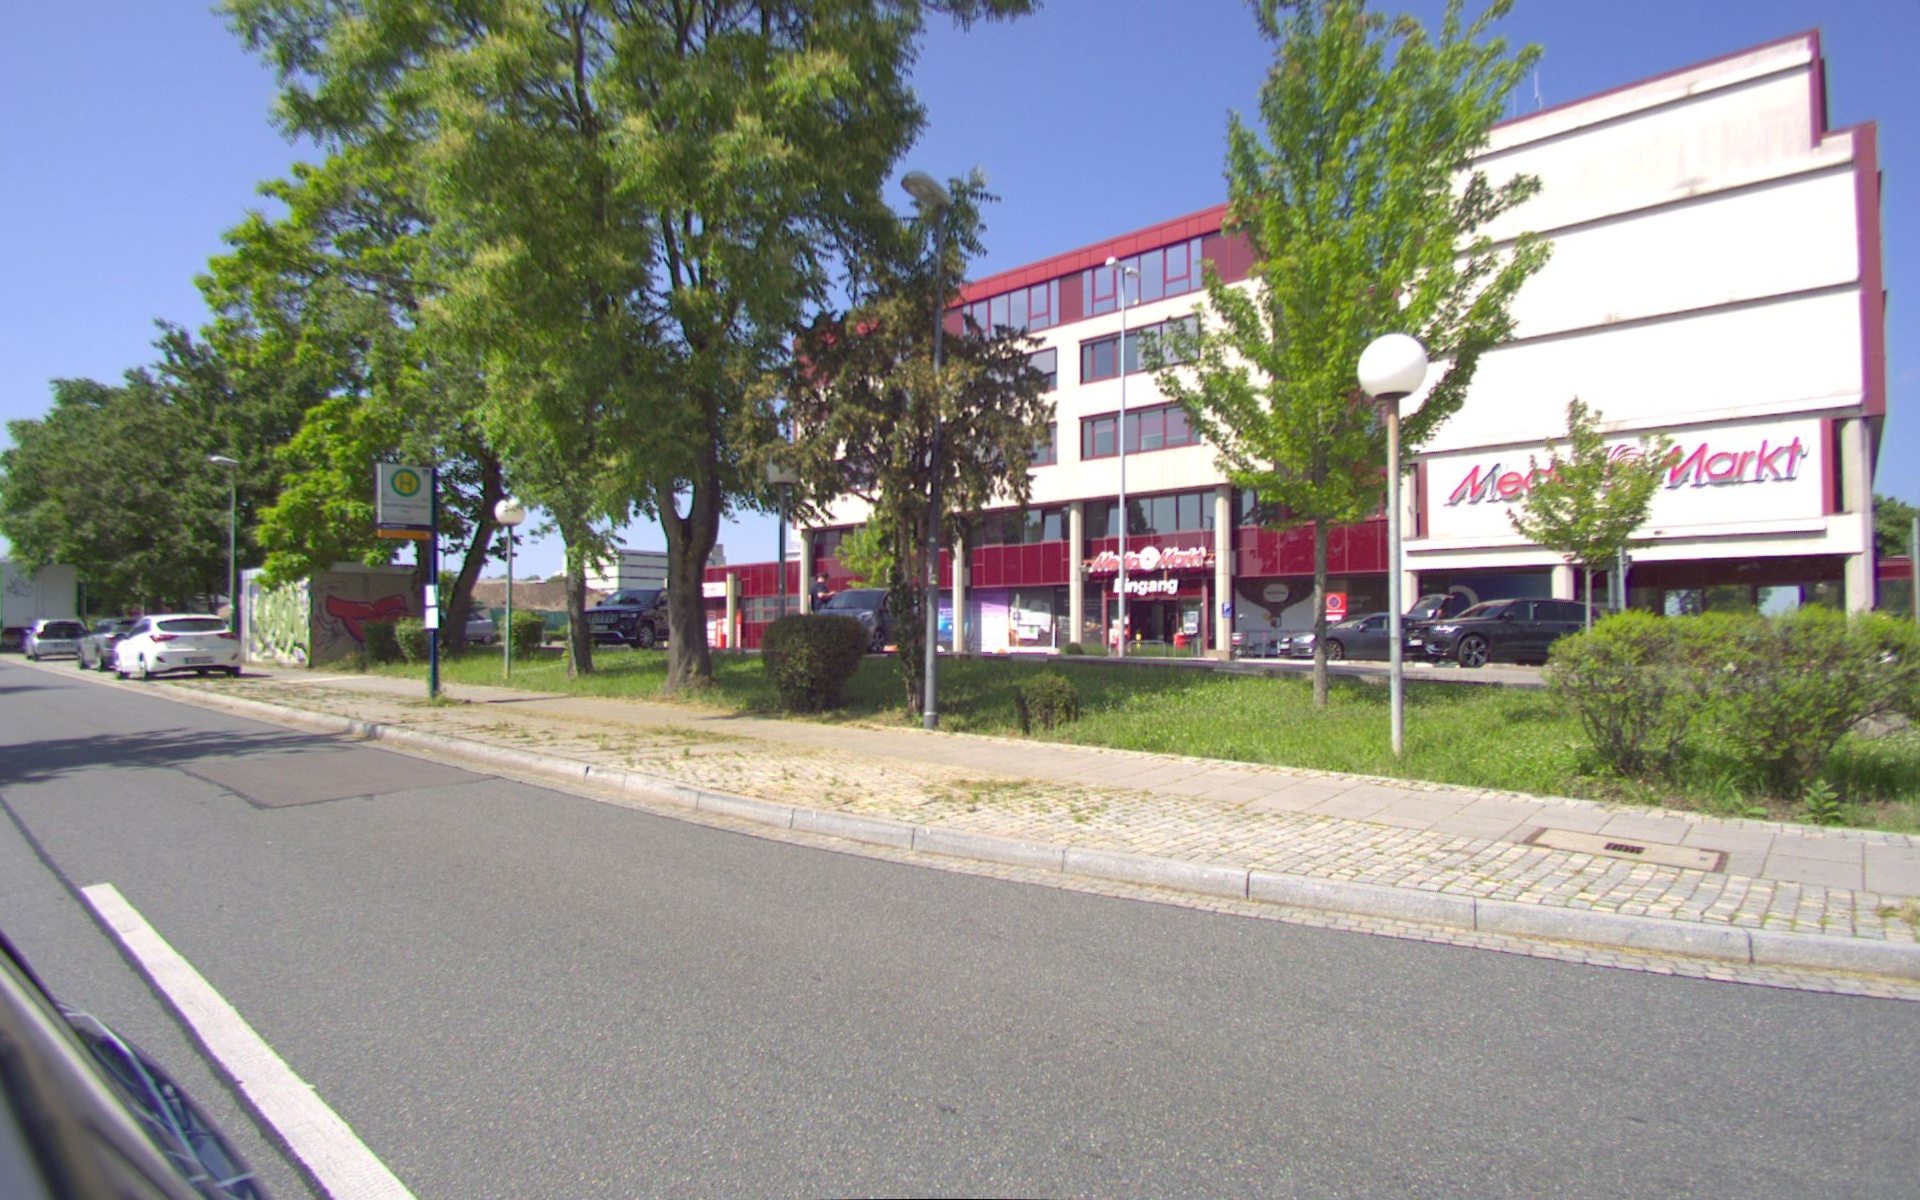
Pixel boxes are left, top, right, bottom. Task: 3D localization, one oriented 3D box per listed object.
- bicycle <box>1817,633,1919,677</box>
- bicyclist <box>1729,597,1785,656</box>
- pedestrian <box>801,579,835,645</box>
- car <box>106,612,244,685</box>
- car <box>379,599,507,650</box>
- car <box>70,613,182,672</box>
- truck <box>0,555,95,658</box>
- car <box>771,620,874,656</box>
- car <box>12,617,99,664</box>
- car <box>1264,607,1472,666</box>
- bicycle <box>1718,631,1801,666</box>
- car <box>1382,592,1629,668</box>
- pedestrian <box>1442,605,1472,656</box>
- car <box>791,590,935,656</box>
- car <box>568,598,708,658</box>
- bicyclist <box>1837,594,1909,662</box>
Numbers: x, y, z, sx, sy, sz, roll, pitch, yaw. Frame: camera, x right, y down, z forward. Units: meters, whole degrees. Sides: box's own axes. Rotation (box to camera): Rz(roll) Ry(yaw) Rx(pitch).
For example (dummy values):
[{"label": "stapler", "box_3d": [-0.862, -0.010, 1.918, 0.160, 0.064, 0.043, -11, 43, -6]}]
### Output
[{"label": "bicycle", "box_3d": [20.202, 1.194, 22.366, 0.716, 0.855, 1.848, 0, 0, -15]}, {"label": "bicyclist", "box_3d": [20.125, 0.659, 25.582, 0.713, 1.459, 0.921, 0, 0, 5]}, {"label": "pedestrian", "box_3d": [-3.364, 0.293, 23.953, 0.555, 1.539, 0.759, 0, -2, -27]}, {"label": "car", "box_3d": [-18.164, 1.071, 23.361, 3.997, 1.504, 1.743, -1, -1, 41]}, {"label": "car", "box_3d": [-19.836, 0.957, 39.078, 1.979, 1.818, 4.700, -2, -2, 11]}, {"label": "car", "box_3d": [-23.458, 1.163, 28.422, 3.997, 1.527, 1.791, -2, -1, 41]}, {"label": "truck", "box_3d": [-41.539, 0.375, 45.163, 9.275, 4.175, 3.309, -2, -1, 42]}, {"label": "car", "box_3d": [-5.683, 1.575, 42.163, 4.175, 1.462, 1.725, 0, -2, -6]}, {"label": "car", "box_3d": [-32.330, 1.422, 36.136, 3.997, 1.527, 1.791, -2, -1, 41]}, {"label": "car", "box_3d": [10.842, 0.980, 27.079, 4.794, 1.504, 1.921, 1, -2, -6]}, {"label": "bicycle", "box_3d": [20.128, 1.207, 25.534, 0.719, 0.799, 1.840, 0, 0, 4]}, {"label": "car", "box_3d": [13.199, 0.787, 24.637, 5.031, 1.606, 2.192, 2, -4, -12]}, {"label": "pedestrian", "box_3d": [13.533, 0.819, 27.560, 0.455, 1.366, 0.523, 0, -2, -21]}, {"label": "car", "box_3d": [-2.091, 0.483, 22.914, 1.705, 1.348, 3.964, -1, 0, 20]}, {"label": "car", "box_3d": [-8.841, 0.717, 28.253, 1.831, 1.504, 4.804, -1, 0, 8]}, {"label": "bicyclist", "box_3d": [20.190, 0.601, 22.389, 0.710, 1.459, 0.925, 0, 0, -14]}]
